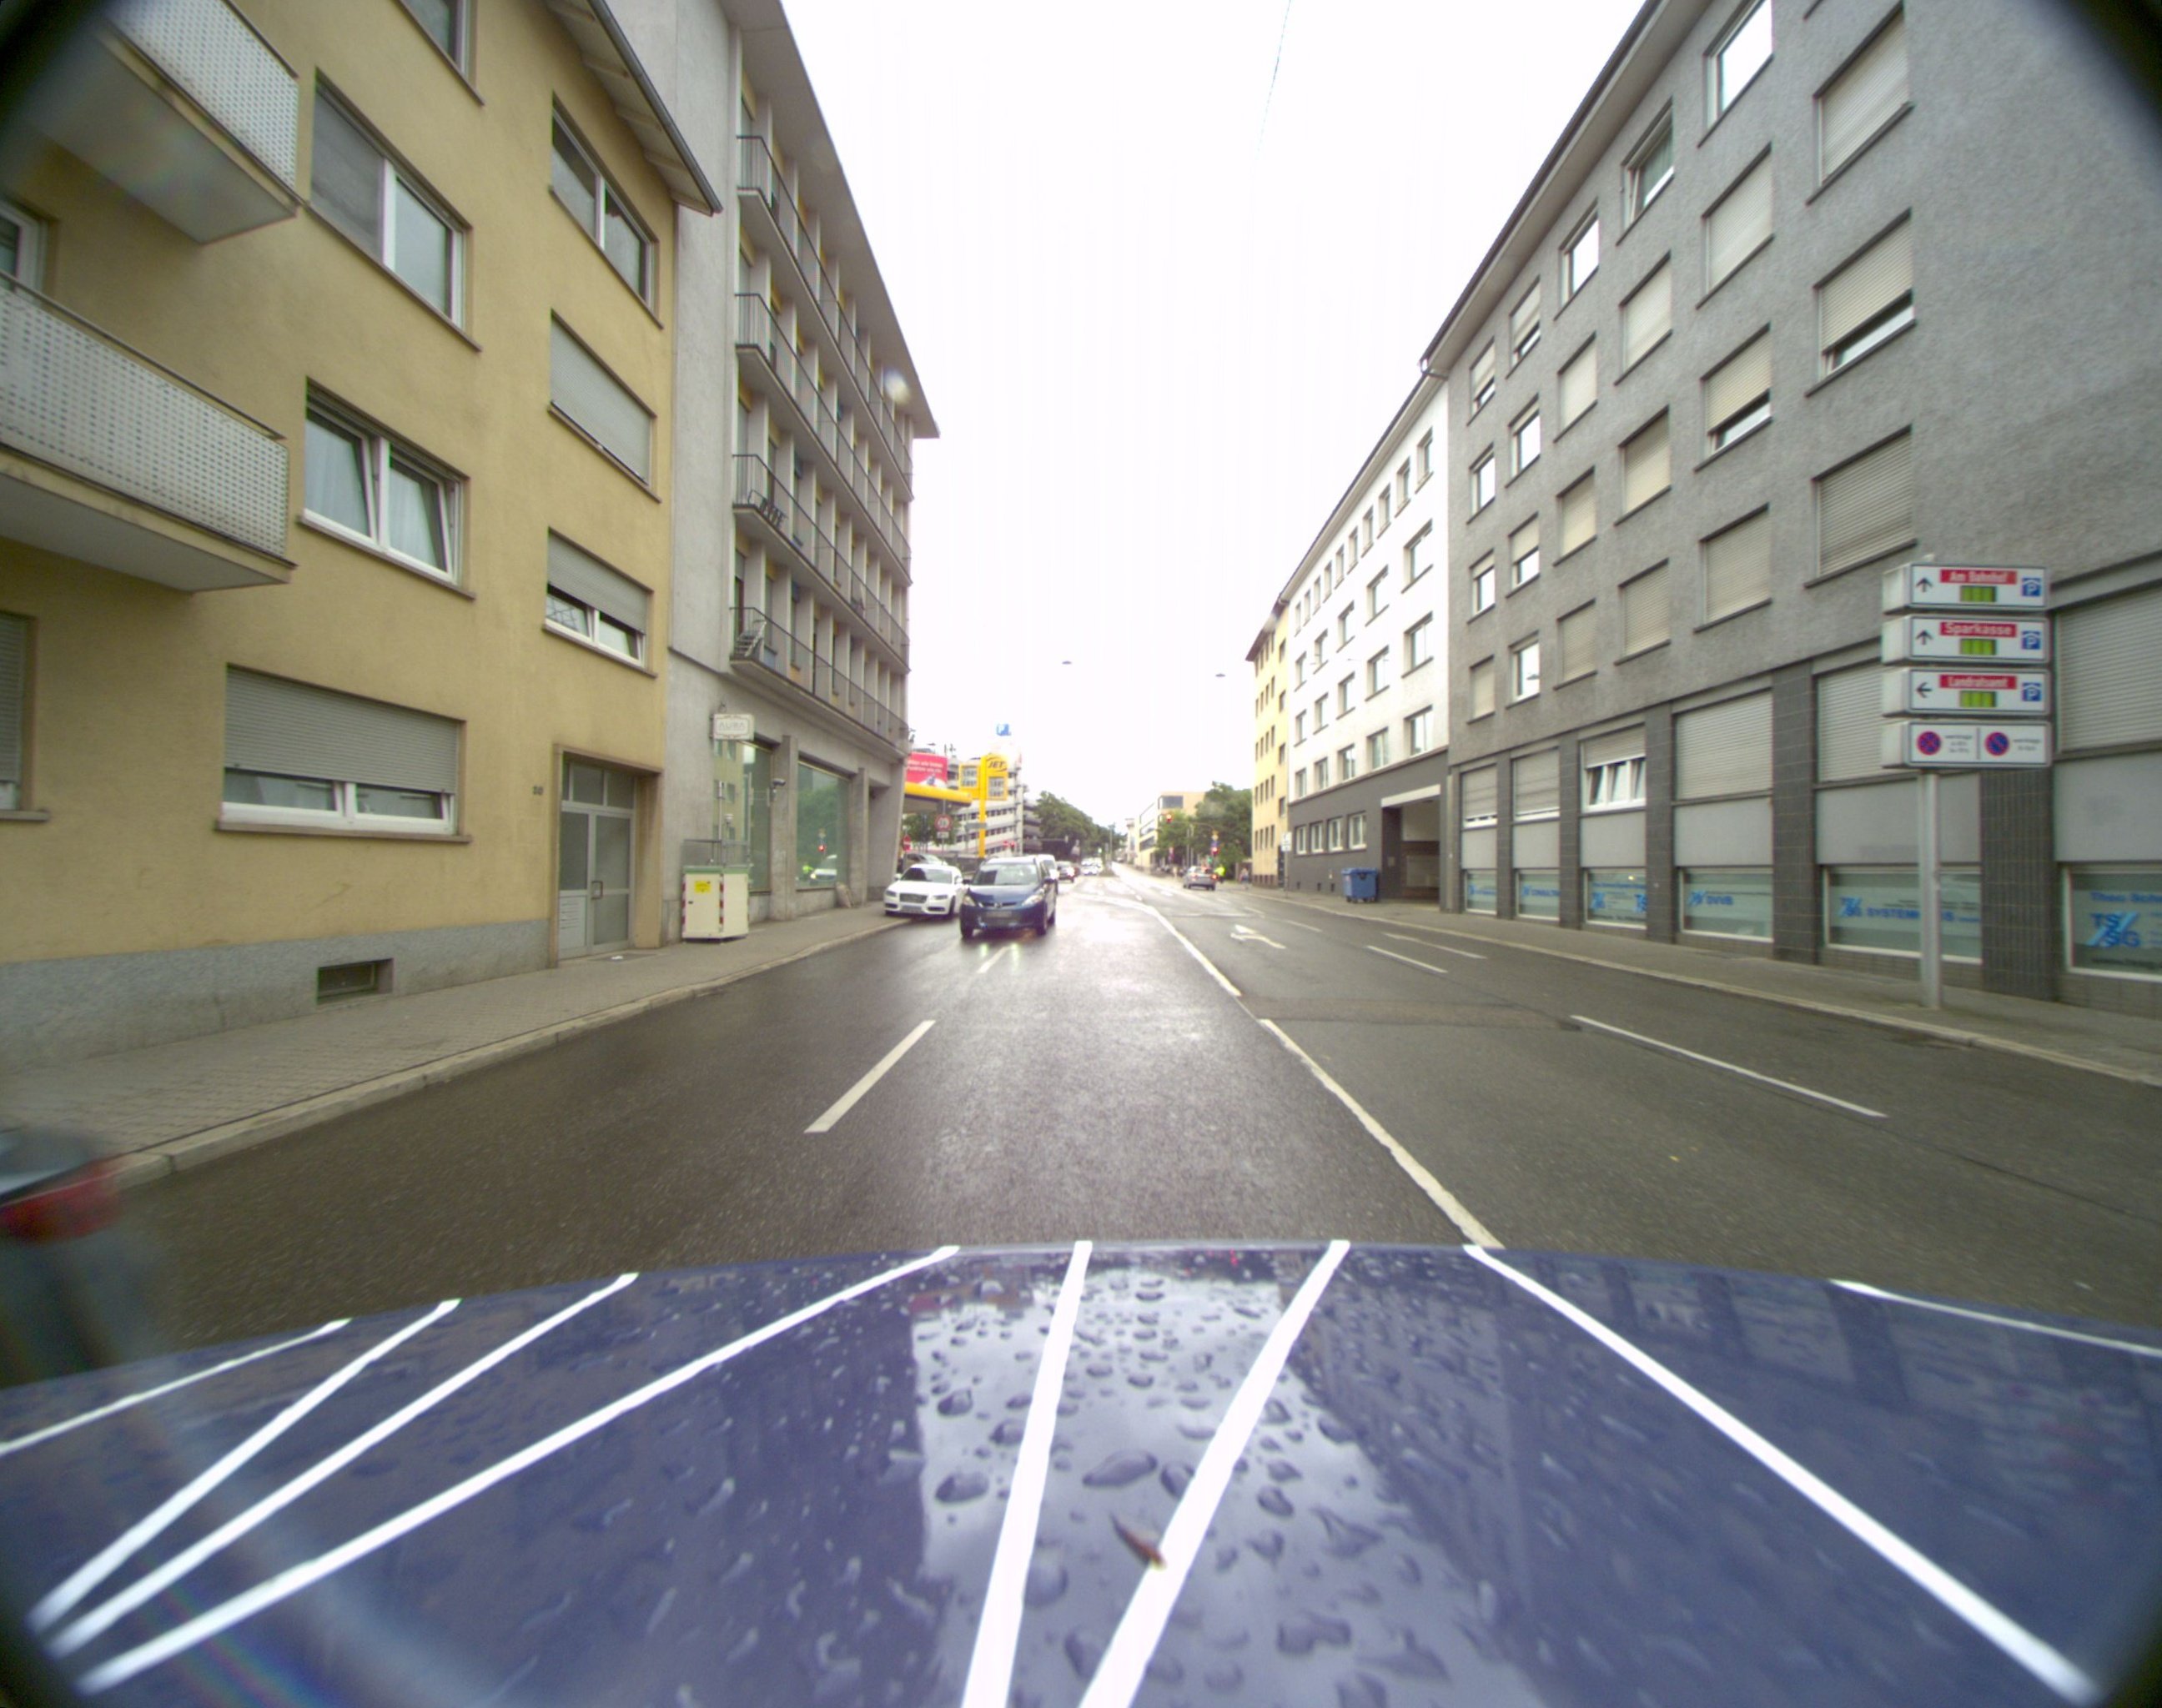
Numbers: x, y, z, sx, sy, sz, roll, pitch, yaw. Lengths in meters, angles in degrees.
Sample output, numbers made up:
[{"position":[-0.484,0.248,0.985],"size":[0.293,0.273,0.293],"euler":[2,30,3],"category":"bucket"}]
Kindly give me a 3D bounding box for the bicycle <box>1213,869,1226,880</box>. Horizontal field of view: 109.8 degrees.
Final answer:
[{"position":[11.583,1.711,63.653],"size":[0.887,0.902,1.867],"euler":[-1,0,4],"category":"bicycle"}]

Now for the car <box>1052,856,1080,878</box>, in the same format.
[{"position":[-1.115,1.012,58.225],"size":[1.804,1.561,3.951],"euler":[-2,-1,3],"category":"car"}]

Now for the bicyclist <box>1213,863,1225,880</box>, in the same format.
[{"position":[11.574,1.450,63.657],"size":[0.844,1.433,0.813],"euler":[-1,0,4],"category":"bicyclist"}]

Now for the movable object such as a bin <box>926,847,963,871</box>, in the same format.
[{"position":[-9.508,0.368,53.178],"size":[2.160,1.546,1.773],"euler":[2,0,2],"category":"movable object such as a bin"}]

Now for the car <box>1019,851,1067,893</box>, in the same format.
[{"position":[-1.726,0.849,35.753],"size":[1.804,1.817,3.951],"euler":[-2,-1,3],"category":"car"}]

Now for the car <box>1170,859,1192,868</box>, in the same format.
[{"position":[18.666,1.727,141.606],"size":[3.995,1.575,2.001],"euler":[-1,0,6],"category":"car"}]

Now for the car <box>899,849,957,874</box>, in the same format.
[{"position":[-9.955,0.501,49.316],"size":[1.750,1.433,3.987],"euler":[2,1,-45],"category":"car"}]

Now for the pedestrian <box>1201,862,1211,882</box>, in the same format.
[{"position":[10.699,1.541,65.162],"size":[0.719,1.679,0.811],"euler":[-1,0,3],"category":"pedestrian"}]

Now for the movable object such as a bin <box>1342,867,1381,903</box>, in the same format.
[{"position":[10.687,1.172,28.976],"size":[1.079,1.316,1.191],"euler":[-1,0,2],"category":"movable object such as a bin"}]

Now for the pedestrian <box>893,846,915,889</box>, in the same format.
[{"position":[-7.585,0.582,32.565],"size":[0.661,1.761,0.528],"euler":[2,1,-41],"category":"pedestrian"}]

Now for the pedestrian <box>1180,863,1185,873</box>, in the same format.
[{"position":[14.474,2.001,108.403],"size":[0.622,1.368,0.475],"euler":[-1,0,2],"category":"pedestrian"}]

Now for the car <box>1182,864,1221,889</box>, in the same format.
[{"position":[7.724,1.415,49.054],"size":[1.831,1.408,4.295],"euler":[4,-1,1],"category":"car"}]

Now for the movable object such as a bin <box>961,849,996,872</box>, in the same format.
[{"position":[-7.160,0.454,53.203],"size":[2.160,1.565,1.773],"euler":[1,0,2],"category":"movable object such as a bin"}]

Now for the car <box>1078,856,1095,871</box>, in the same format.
[{"position":[0.636,1.108,89.004],"size":[1.812,1.585,4.296],"euler":[1,-1,3],"category":"car"}]

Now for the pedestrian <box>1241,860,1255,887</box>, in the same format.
[{"position":[10.487,1.193,47.865],"size":[0.719,1.679,0.811],"euler":[-1,0,3],"category":"pedestrian"}]

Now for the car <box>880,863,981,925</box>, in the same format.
[{"position":[-4.153,1.062,21.734],"size":[1.898,1.394,4.608],"euler":[5,0,-1],"category":"car"}]

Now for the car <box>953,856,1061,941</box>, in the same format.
[{"position":[-1.488,0.888,16.747],"size":[1.845,1.646,4.001],"euler":[0,0,2],"category":"car"}]
